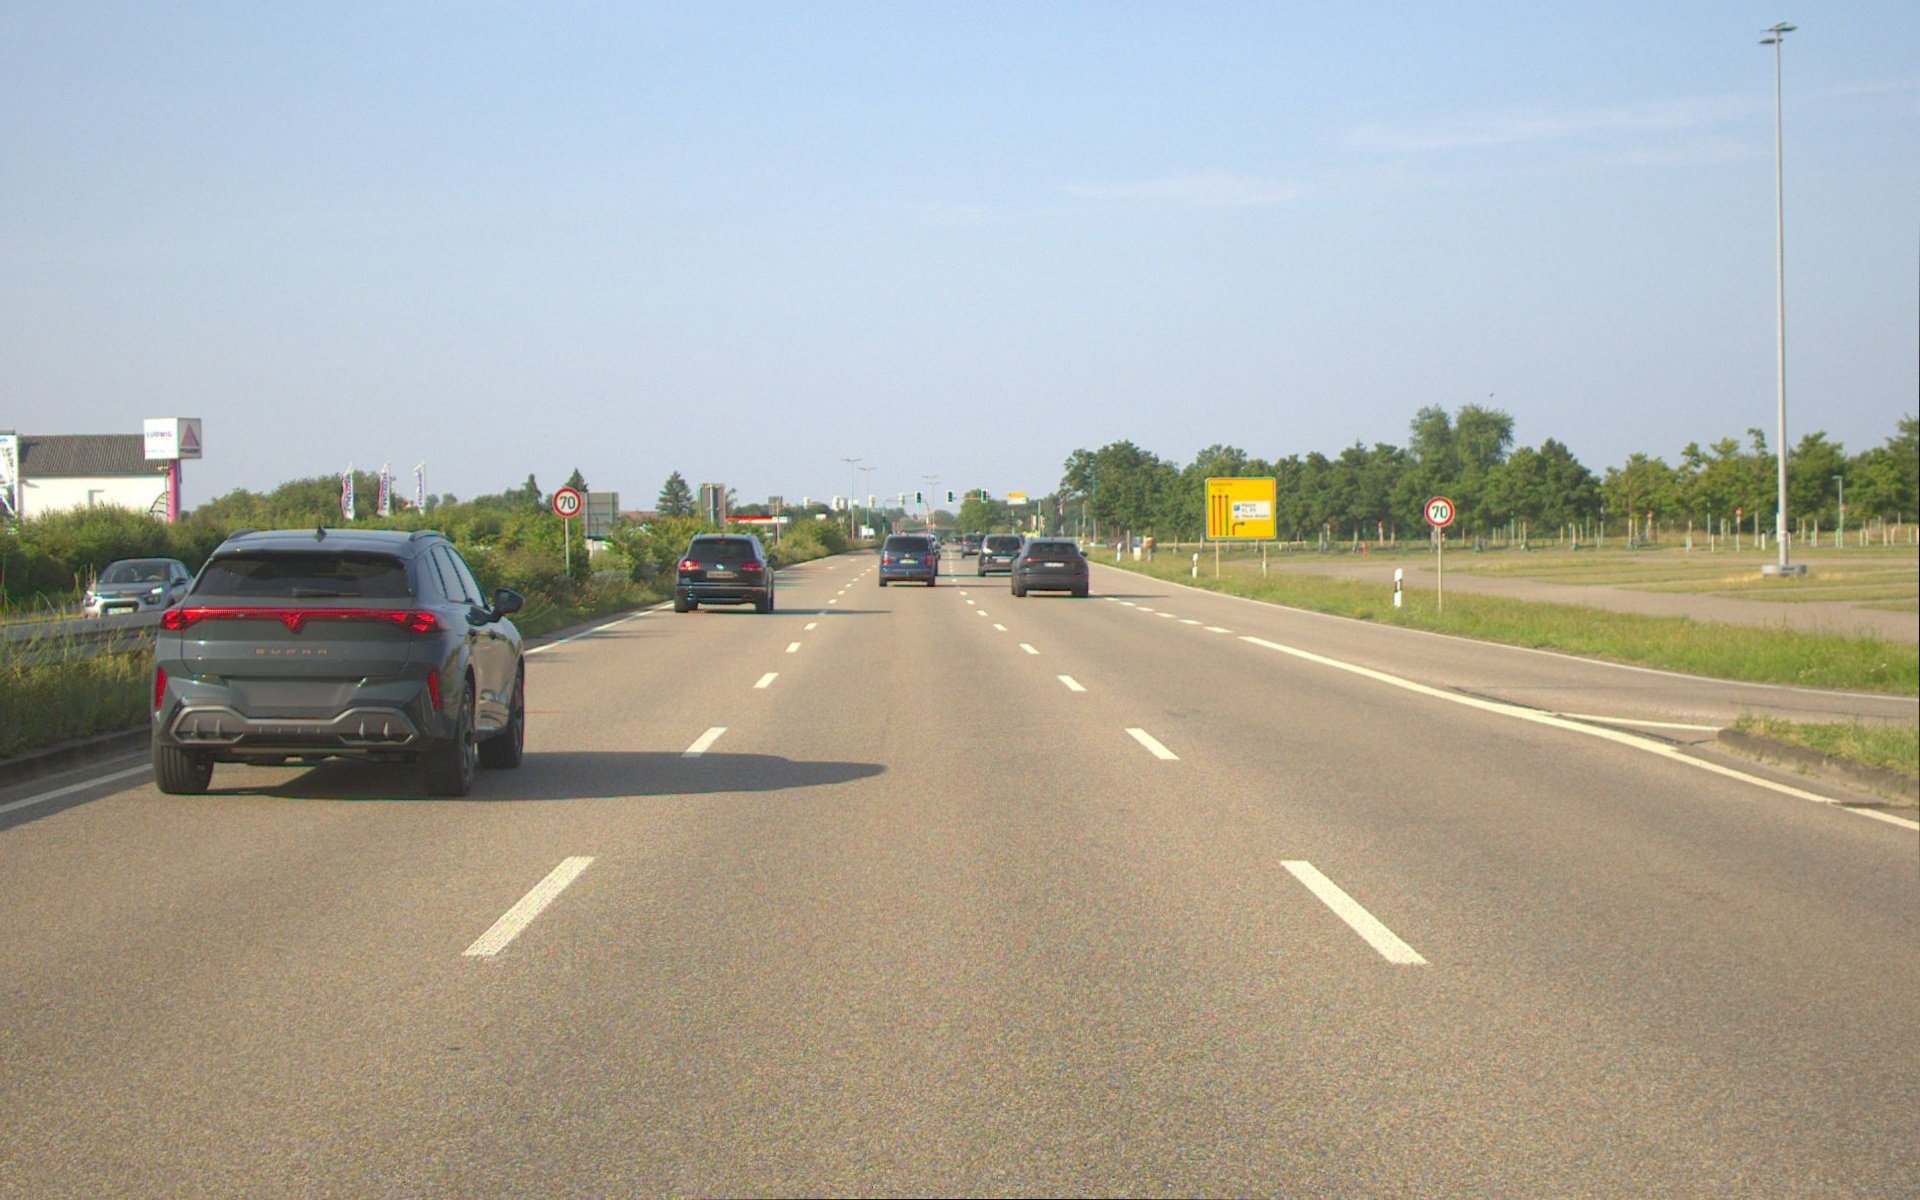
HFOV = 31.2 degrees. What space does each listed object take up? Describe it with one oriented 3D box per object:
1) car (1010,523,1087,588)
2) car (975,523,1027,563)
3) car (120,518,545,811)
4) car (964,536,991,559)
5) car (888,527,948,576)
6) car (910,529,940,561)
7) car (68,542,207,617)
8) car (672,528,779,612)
[{"bbox_3d":[2.390,-1.232,93.964,1.932,1.674,4.401,2,1,0],"label":"car"},{"bbox_3d":[1.550,-2.192,131.581,1.873,1.458,3.981,2,1,0],"label":"car"},{"bbox_3d":[-3.815,0.319,21.637,1.845,1.606,4.401,2,1,0],"label":"car"},{"bbox_3d":[1.038,-3.137,204.049,1.503,1.309,3.156,2,1,0],"label":"car"},{"bbox_3d":[-1.315,-1.558,109.455,1.813,1.458,4.401,2,1,0],"label":"car"},{"bbox_3d":[-1.949,-3.047,191.954,1.645,1.722,3.401,1,0,-1],"label":"car"},{"bbox_3d":[-16.400,-0.431,68.723,1.779,1.420,4.000,-1,1,0],"label":"car"},{"bbox_3d":[-4.952,-0.659,73.101,1.932,1.674,4.401,2,1,0],"label":"car"}]
